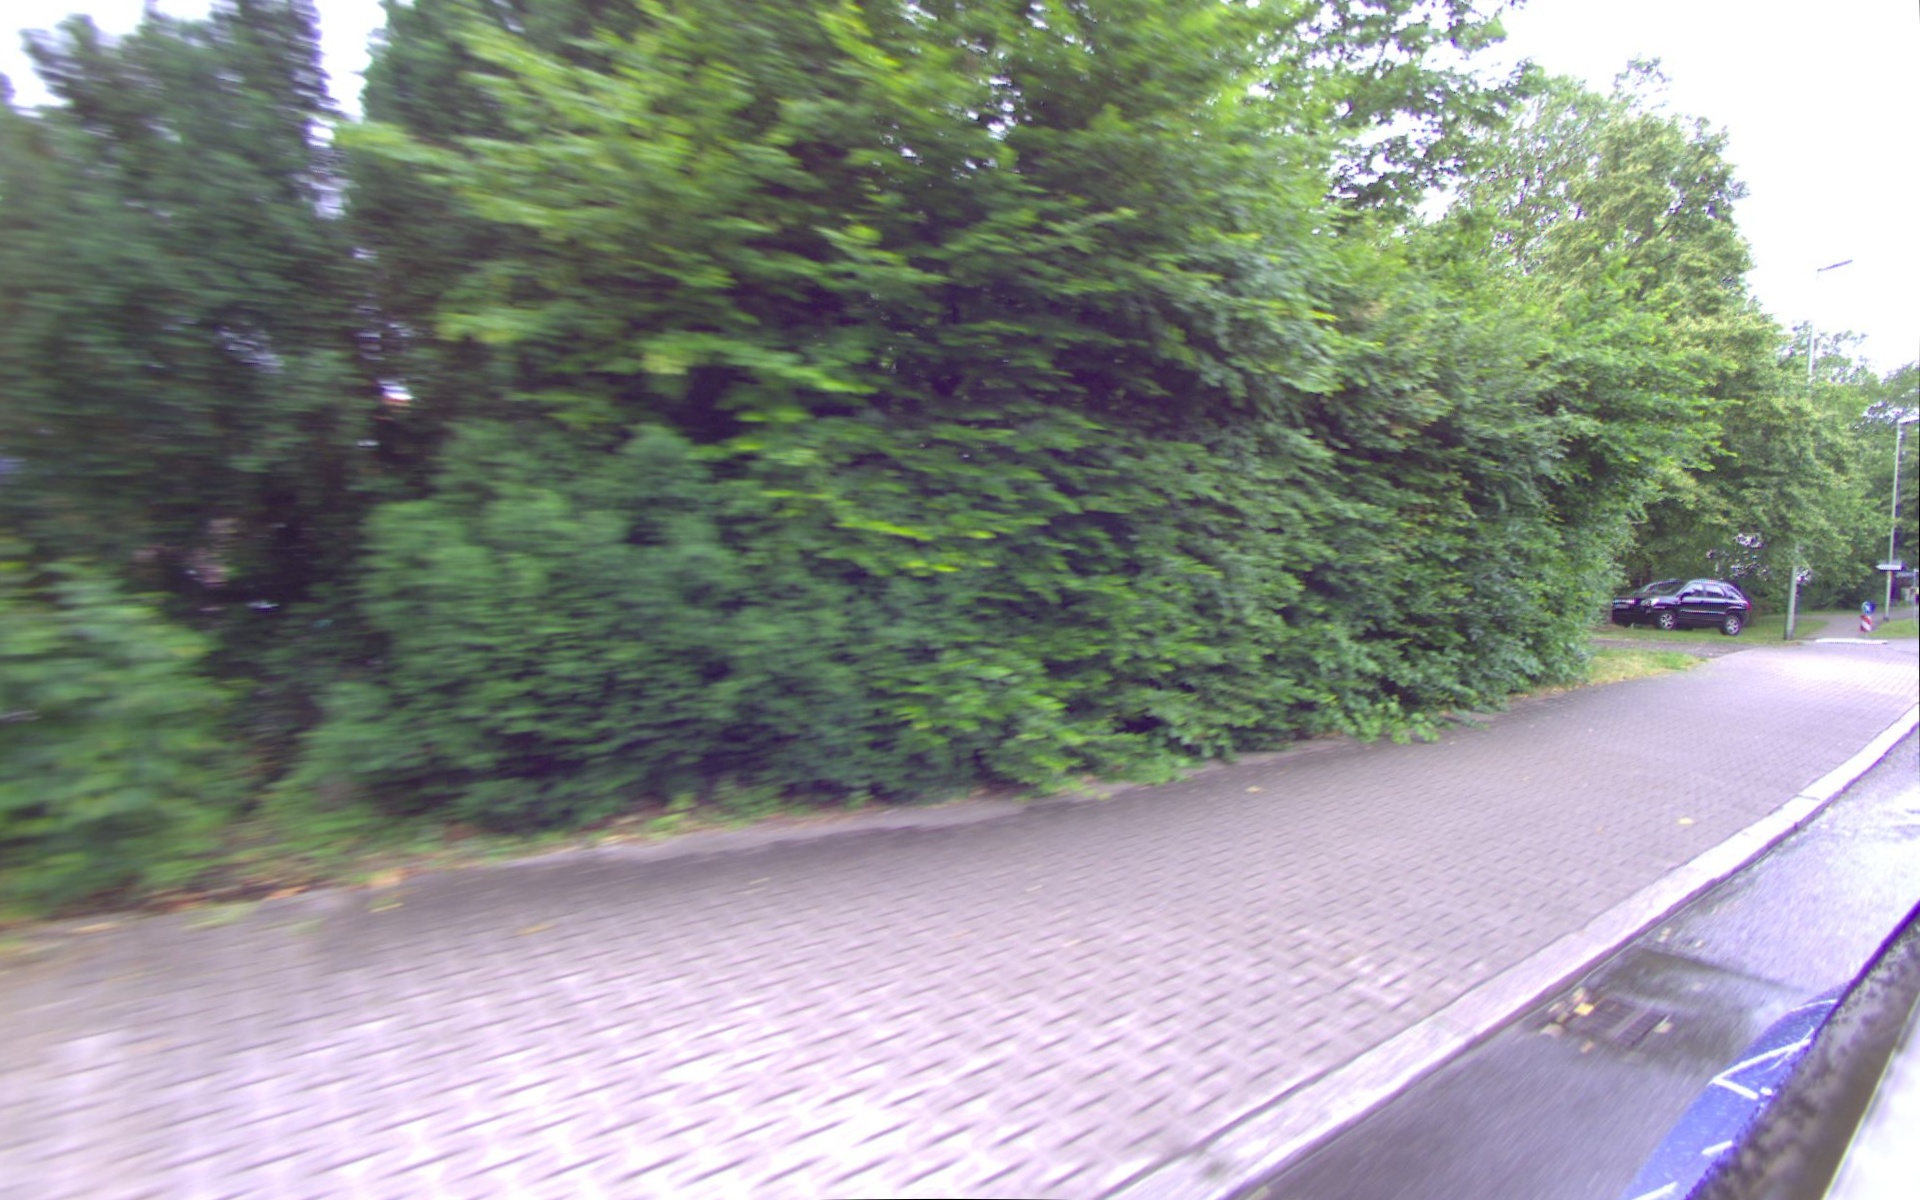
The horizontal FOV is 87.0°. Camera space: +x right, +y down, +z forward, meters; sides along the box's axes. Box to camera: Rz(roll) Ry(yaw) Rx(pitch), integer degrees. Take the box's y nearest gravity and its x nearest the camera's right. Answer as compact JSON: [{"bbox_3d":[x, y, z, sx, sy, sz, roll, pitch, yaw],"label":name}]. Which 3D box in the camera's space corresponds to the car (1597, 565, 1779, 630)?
[{"bbox_3d":[22.946,-0.074,31.940,4.800,1.711,1.958,3,0,-14],"label":"car"}]
